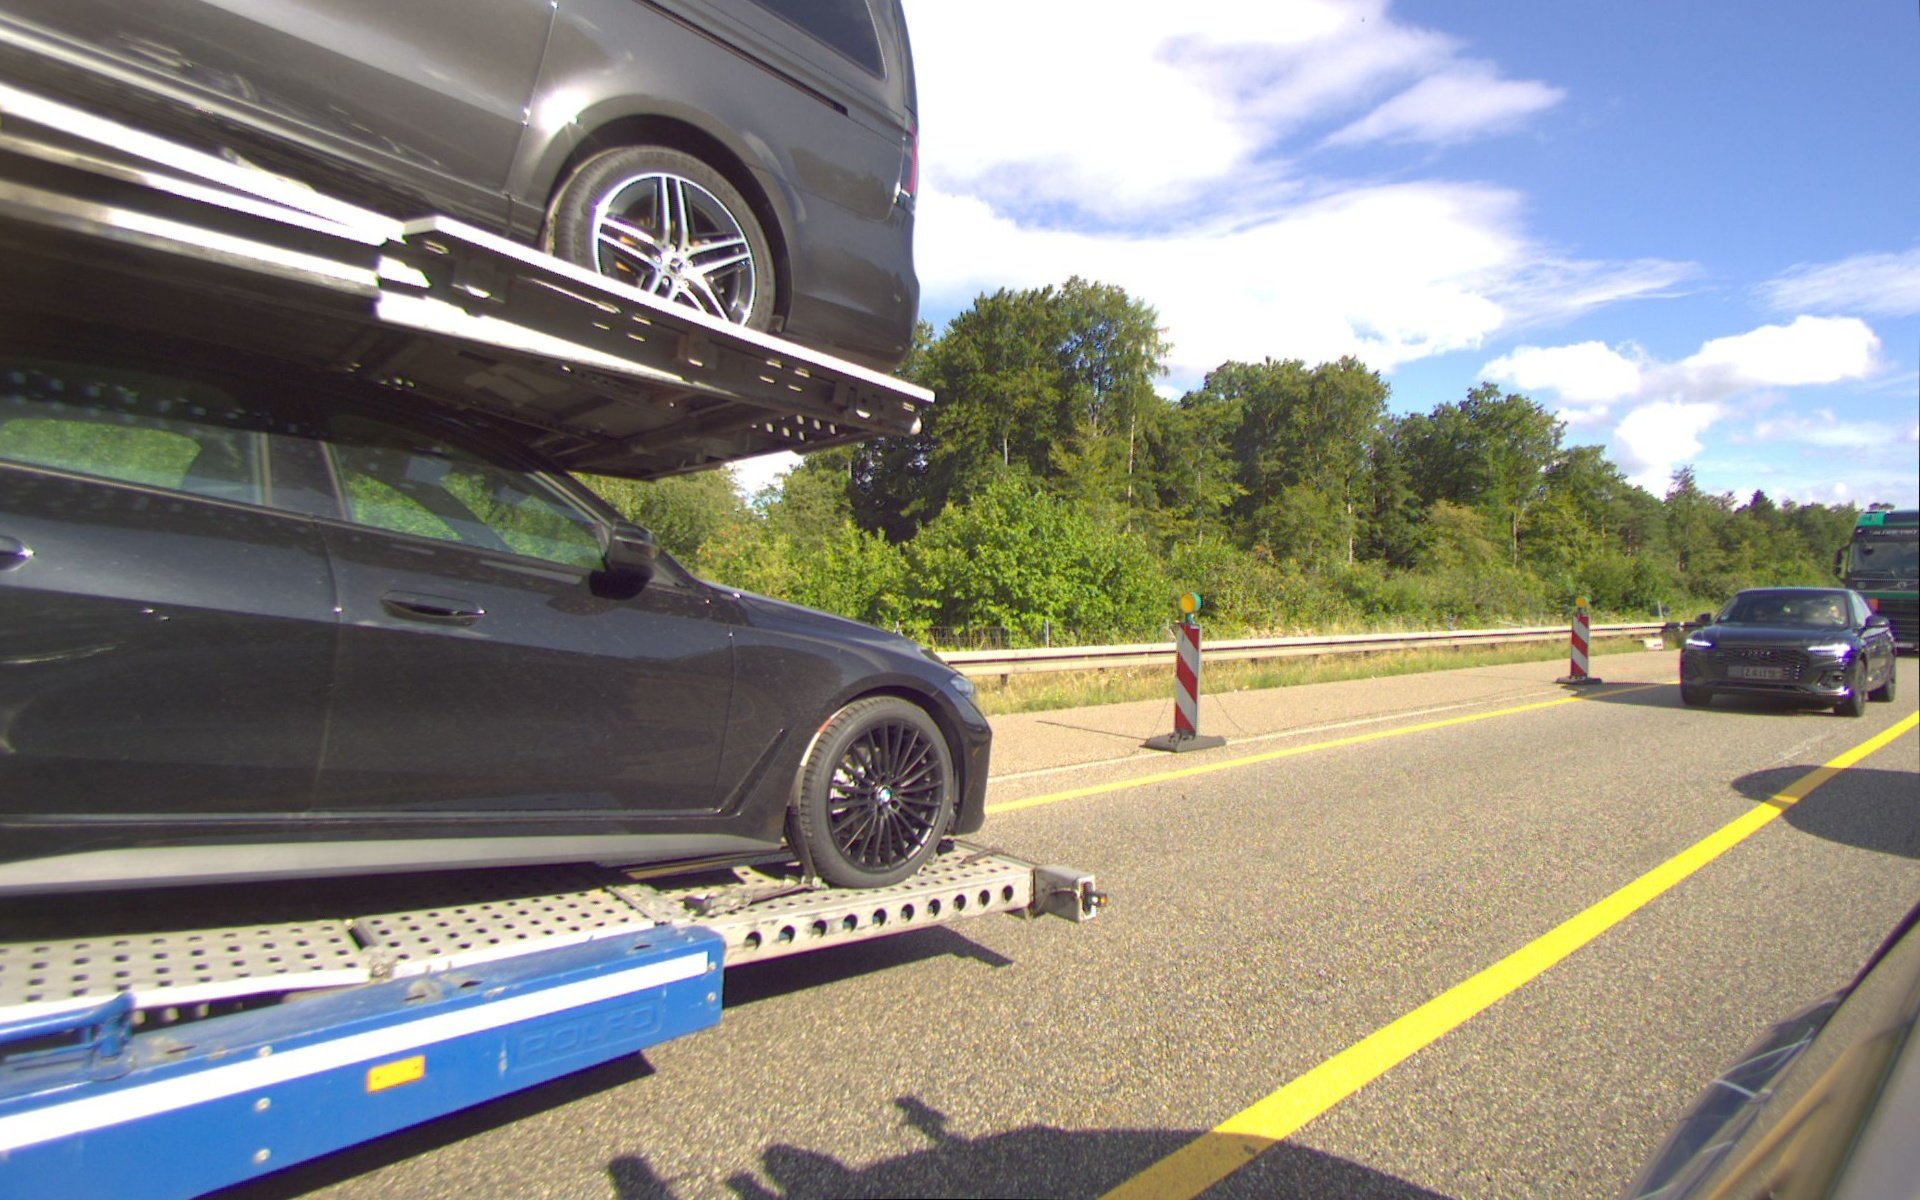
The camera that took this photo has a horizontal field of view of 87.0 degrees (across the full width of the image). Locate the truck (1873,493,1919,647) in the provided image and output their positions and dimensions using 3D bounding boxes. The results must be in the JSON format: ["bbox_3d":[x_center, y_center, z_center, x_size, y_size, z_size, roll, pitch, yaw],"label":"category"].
[{"bbox_3d":[31.763,-0.808,31.812,13.954,4.196,2.469,0,0,-39],"label":"truck"}]

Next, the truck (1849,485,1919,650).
[{"bbox_3d":[26.741,-0.849,27.707,6.734,4.151,2.527,-1,0,-39],"label":"truck"}]

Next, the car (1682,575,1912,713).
[{"bbox_3d":[11.616,0.490,13.955,4.219,1.622,1.781,-1,0,-41],"label":"car"}]
